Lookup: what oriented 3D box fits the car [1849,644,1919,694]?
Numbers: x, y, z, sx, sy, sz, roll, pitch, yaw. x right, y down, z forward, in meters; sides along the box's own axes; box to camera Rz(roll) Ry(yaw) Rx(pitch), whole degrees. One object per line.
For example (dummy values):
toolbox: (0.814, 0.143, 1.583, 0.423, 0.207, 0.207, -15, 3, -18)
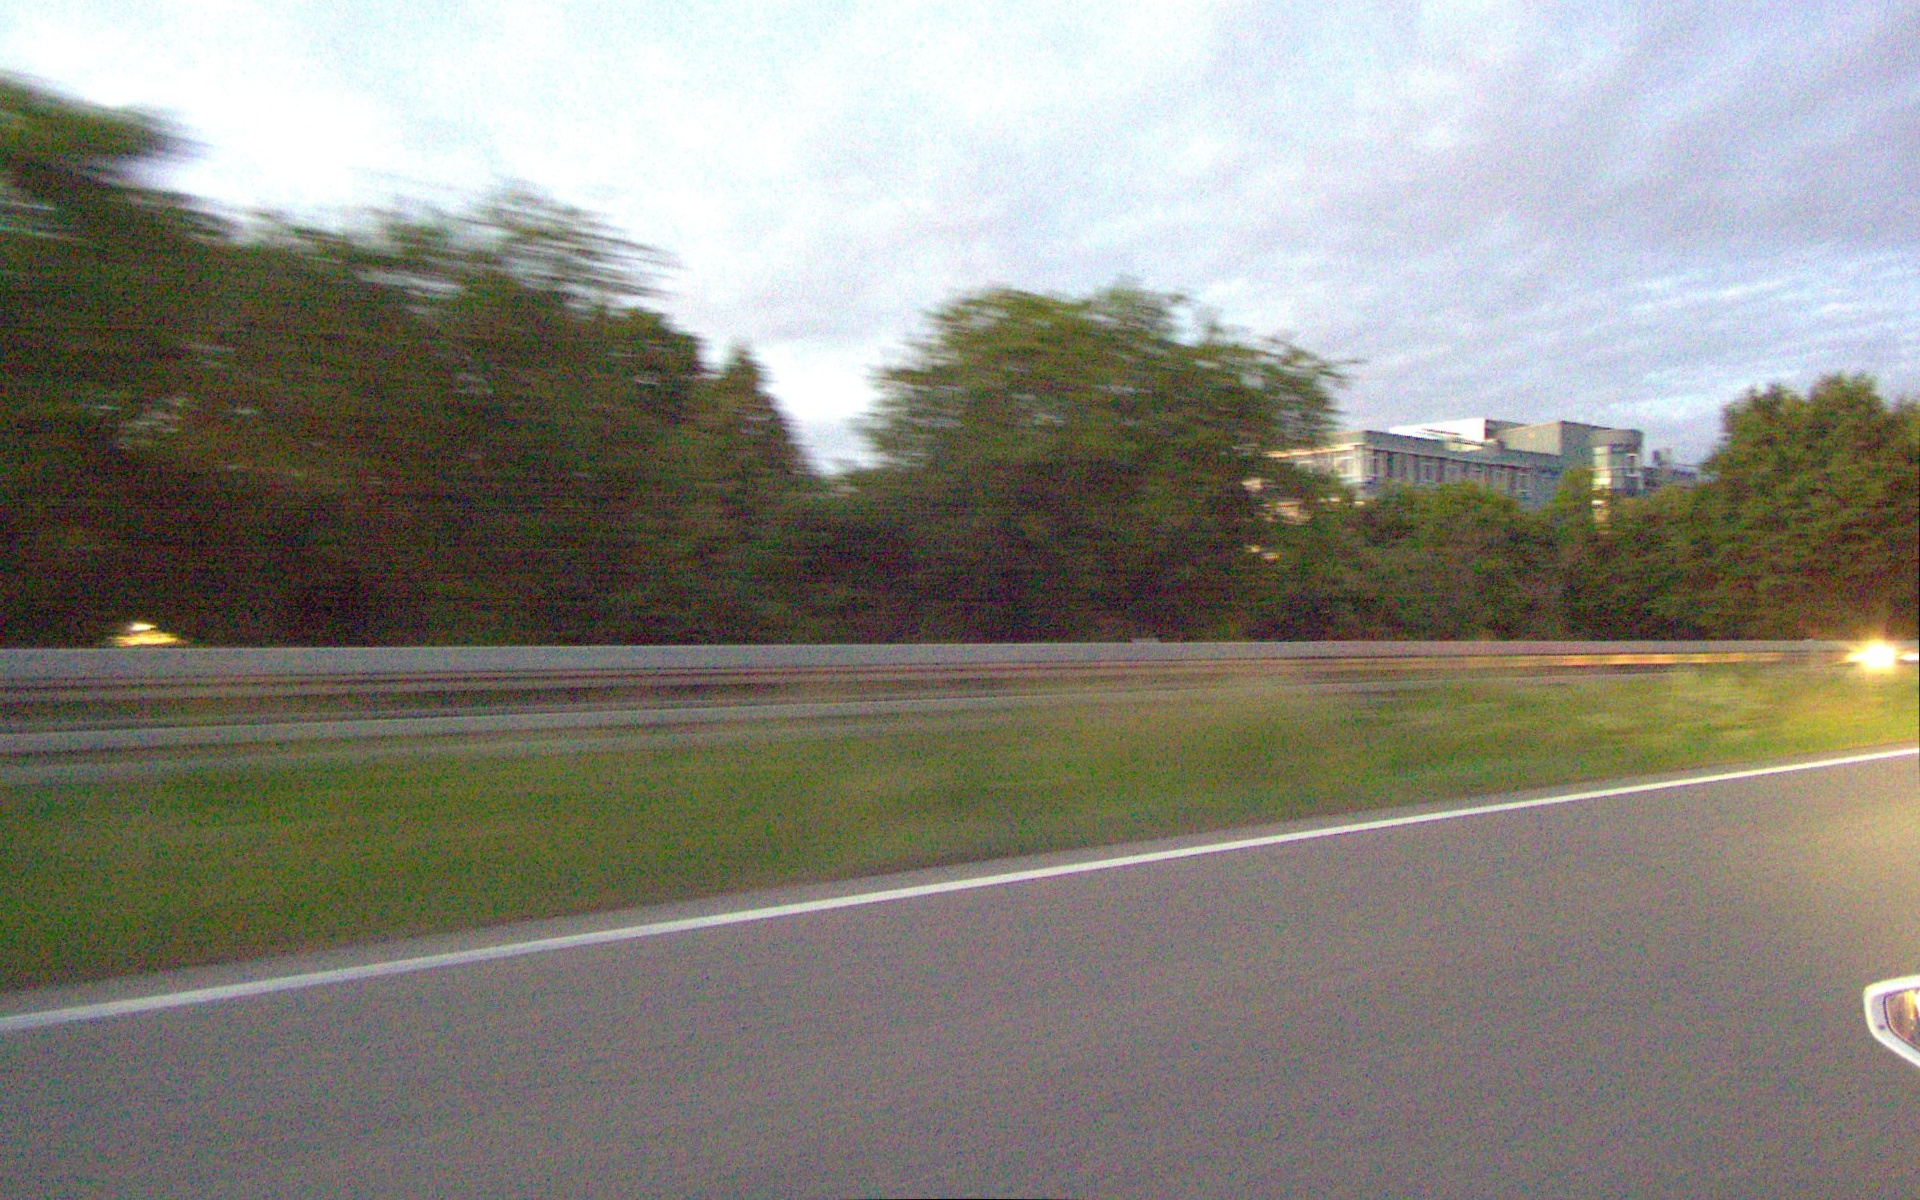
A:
car: (36.032, 2.609, 38.579, 3.952, 1.781, 1.661, 1, 0, -30)
